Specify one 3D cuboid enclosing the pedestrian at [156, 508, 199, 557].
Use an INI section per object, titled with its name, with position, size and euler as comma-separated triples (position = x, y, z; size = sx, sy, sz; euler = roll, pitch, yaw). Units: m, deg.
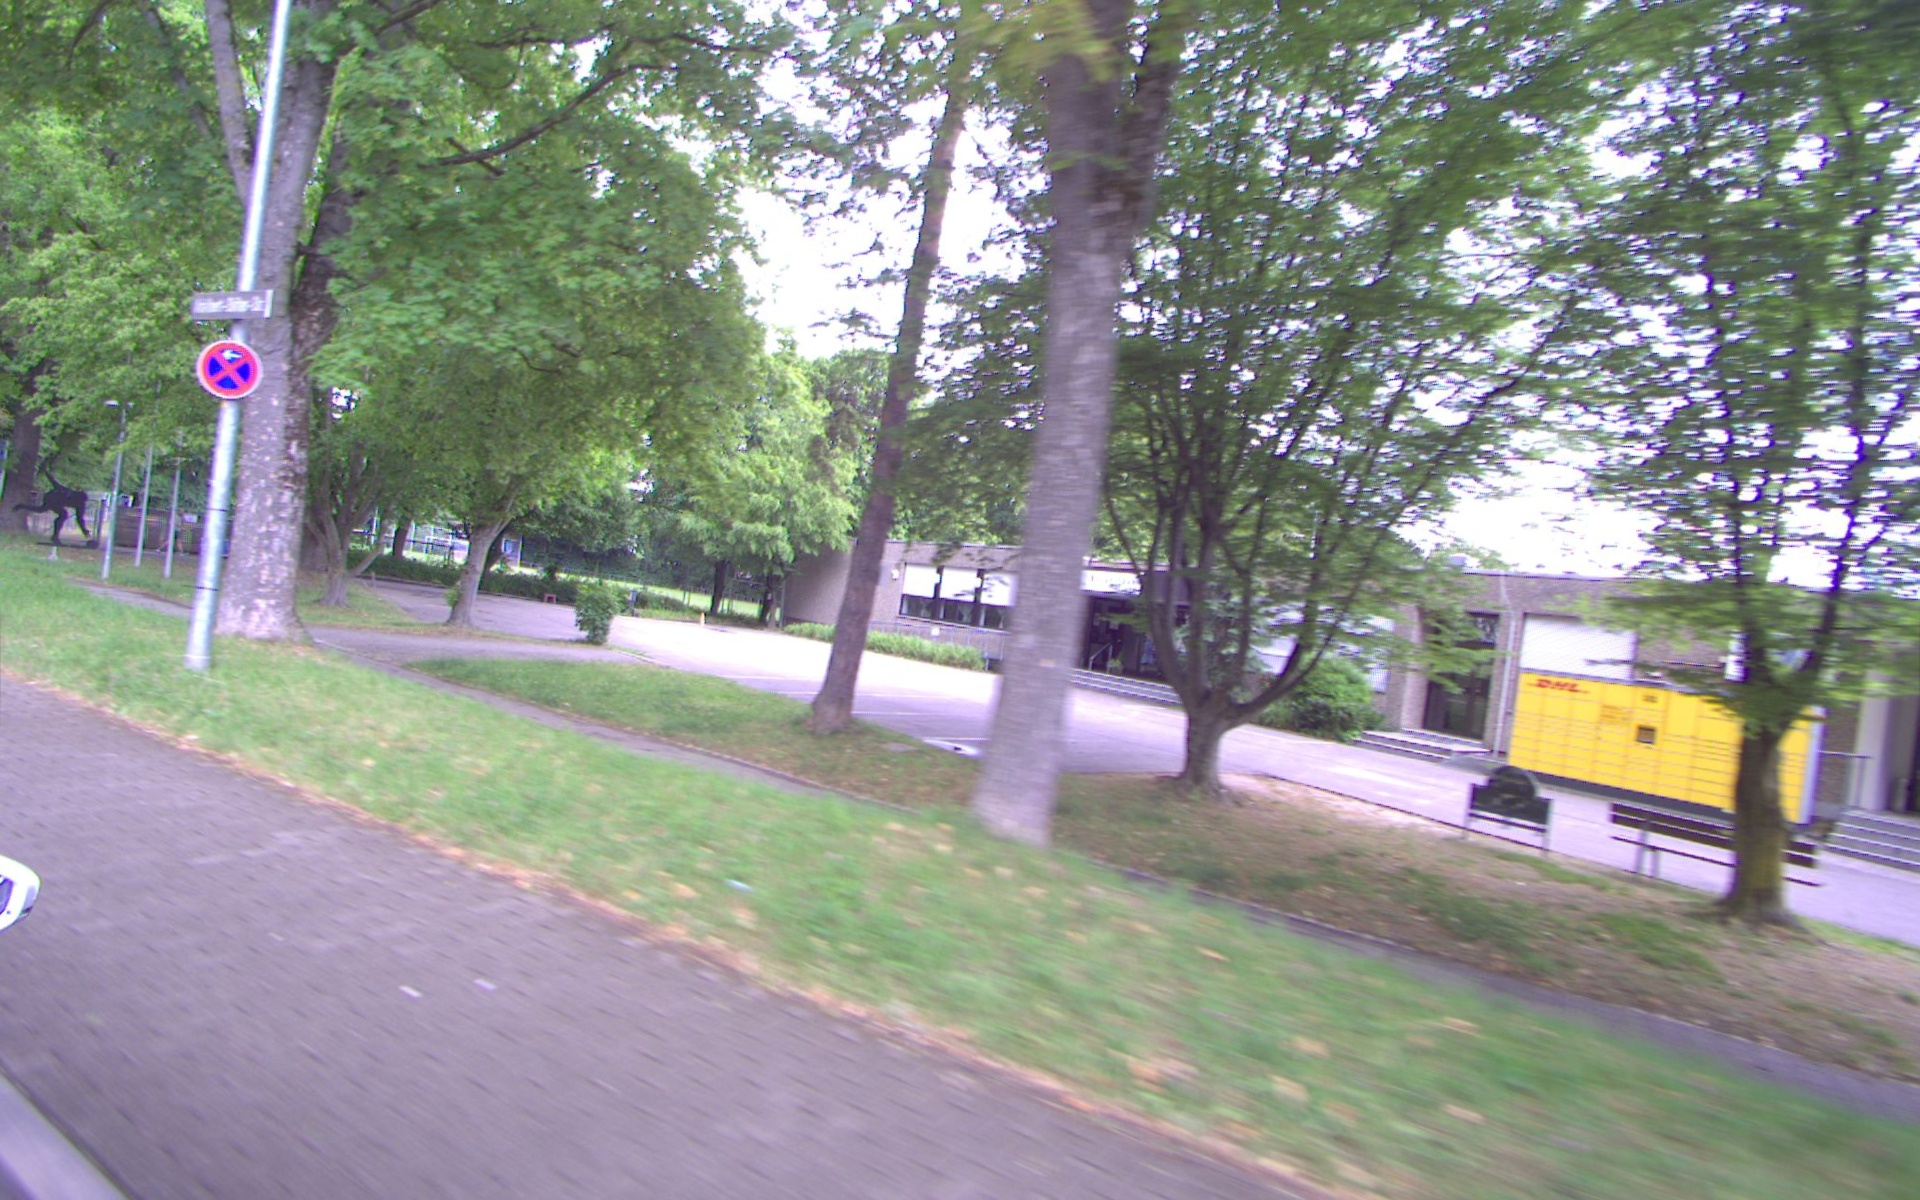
[pedestrian]
position = -30.104, -2.585, 38.729
size = 1.140, 1.695, 0.786
euler = 6, 0, -34
